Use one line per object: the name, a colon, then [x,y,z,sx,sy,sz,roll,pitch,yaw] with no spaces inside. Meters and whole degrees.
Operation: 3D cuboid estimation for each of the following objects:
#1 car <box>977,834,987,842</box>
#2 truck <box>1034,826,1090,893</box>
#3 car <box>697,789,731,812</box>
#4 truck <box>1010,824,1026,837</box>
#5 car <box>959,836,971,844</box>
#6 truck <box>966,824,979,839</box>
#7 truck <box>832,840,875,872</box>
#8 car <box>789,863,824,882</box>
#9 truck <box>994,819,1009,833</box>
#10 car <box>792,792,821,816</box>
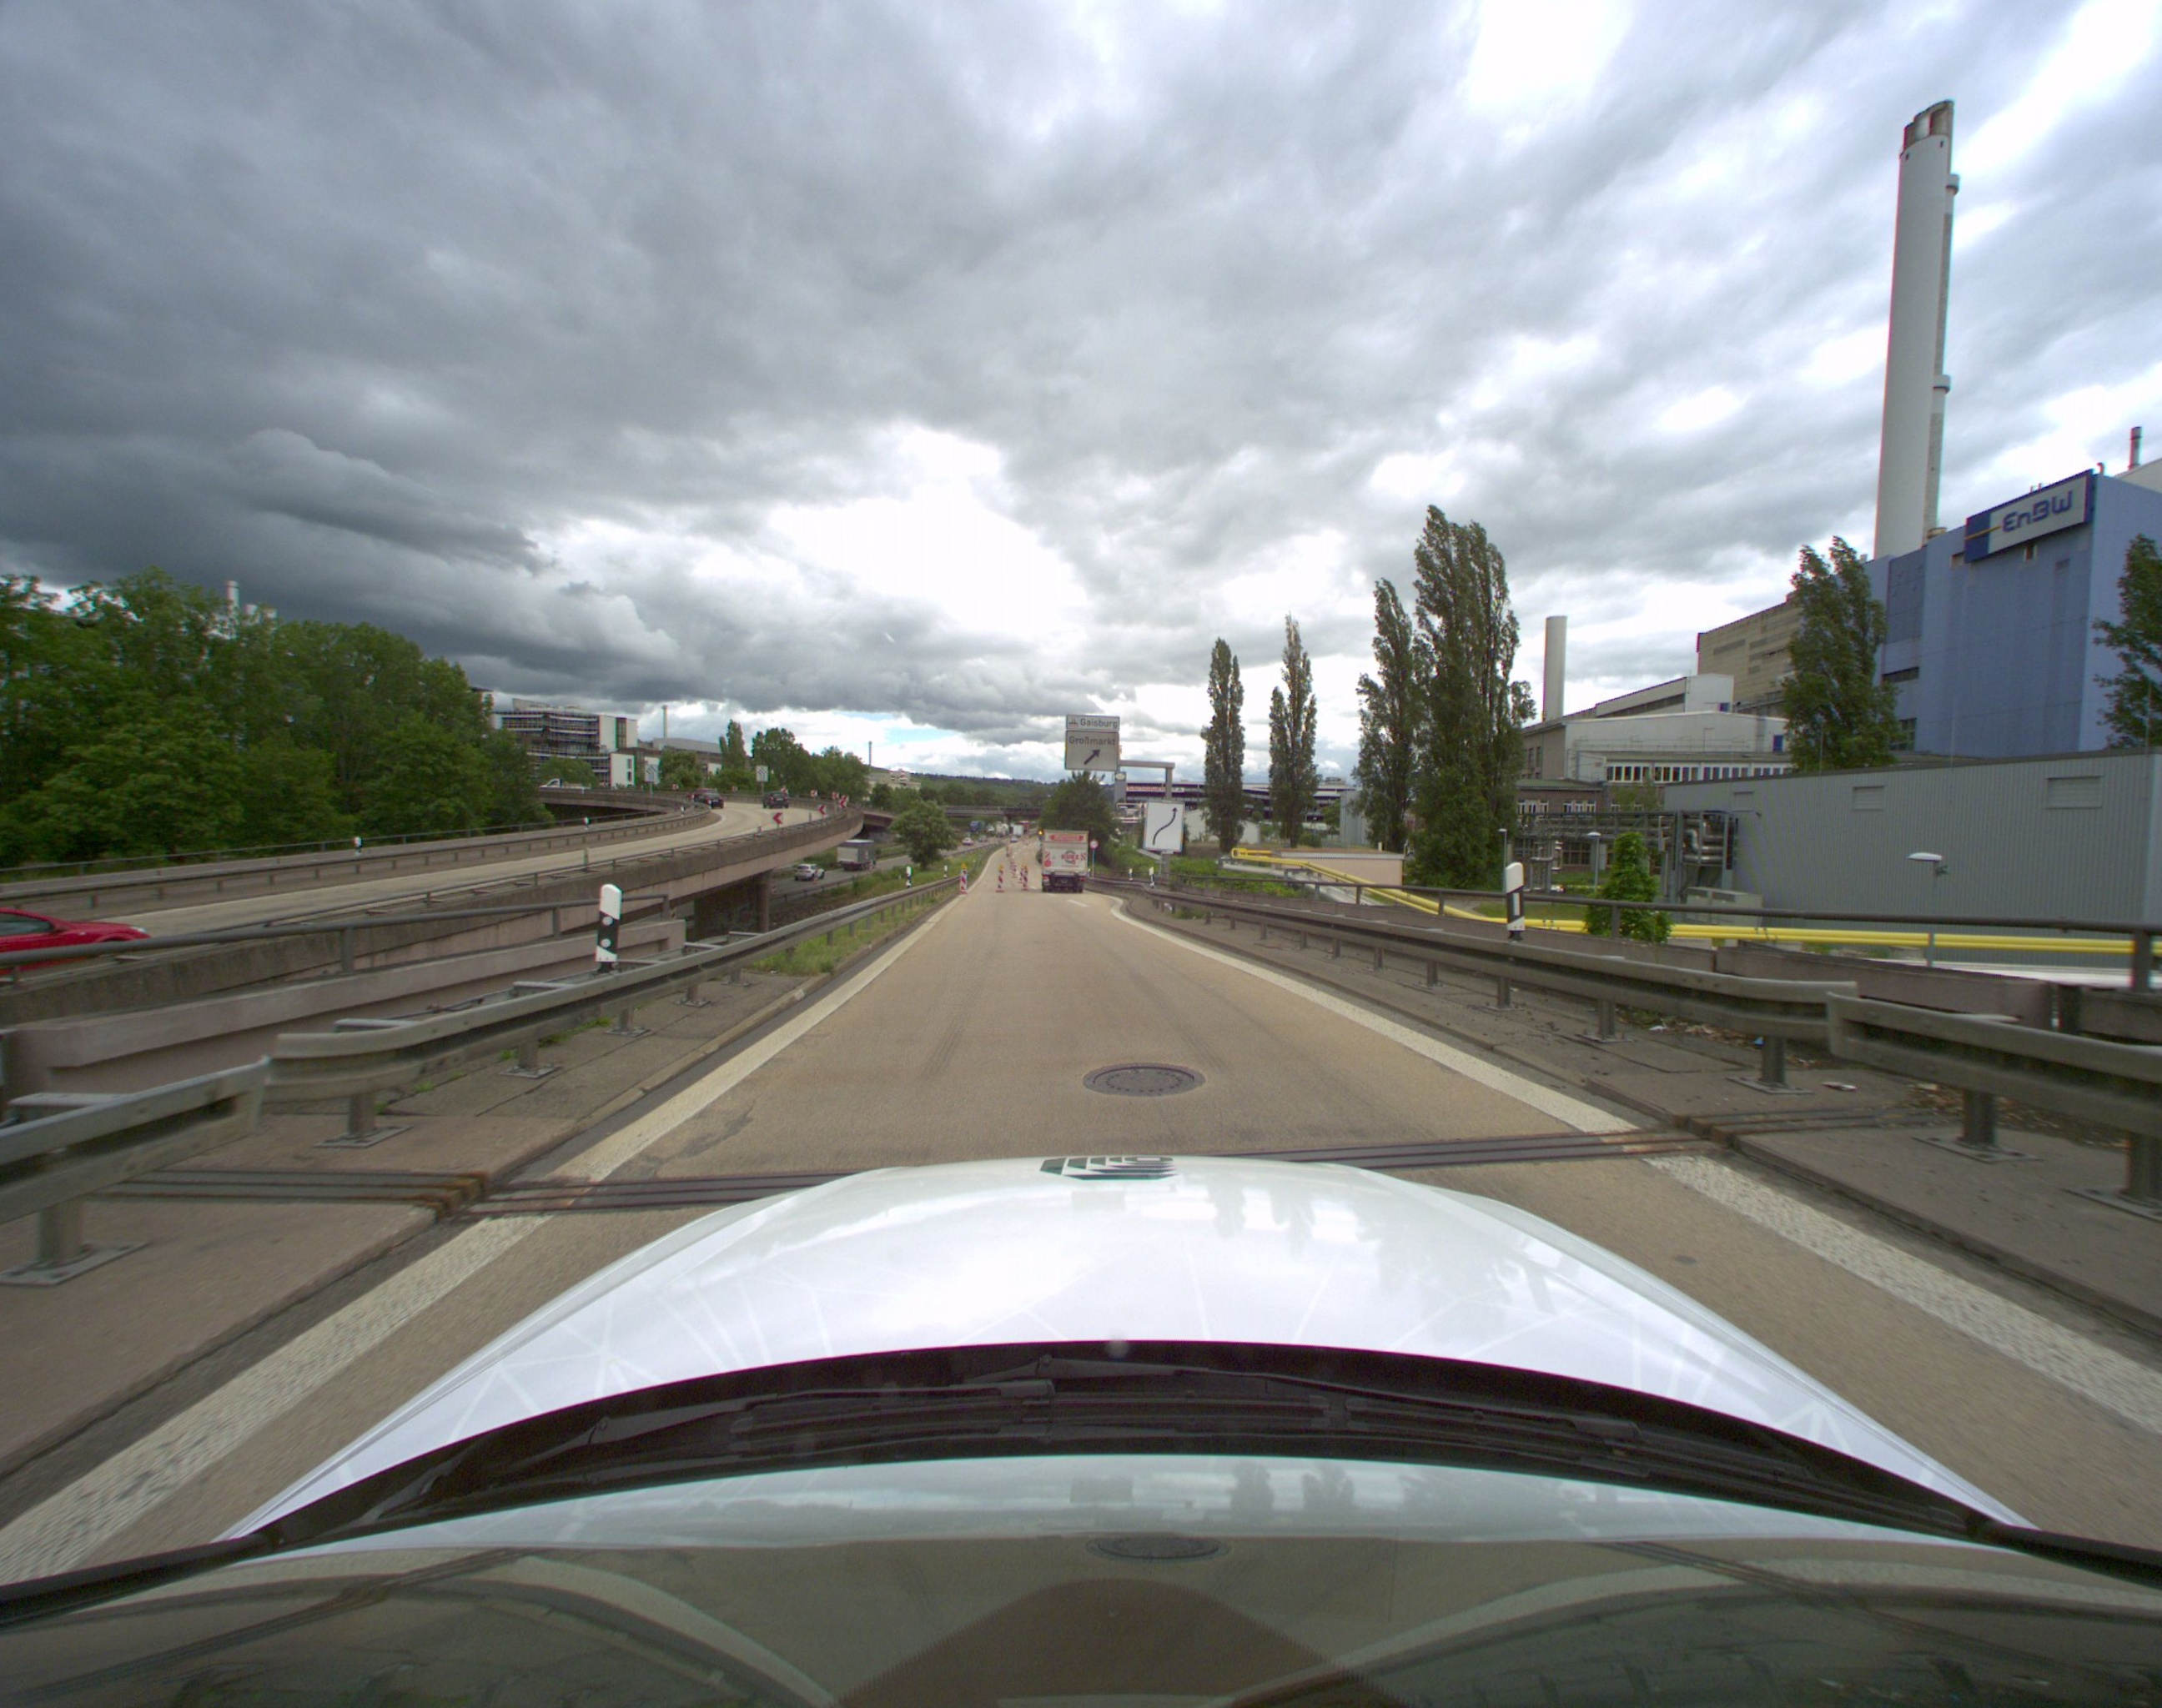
car: [-23.451,-3.766,193.321,1.988,1.617,3.999,2,2,-1]
truck: [-1.212,0.352,49.336,3.043,3.673,7.919,1,-1,-3]
car: [-33.501,-4.822,74.307,2.009,1.772,3.955,1,-1,-38]
truck: [-17.557,-6.549,228.066,3.272,3.599,7.674,2,2,4]
car: [-24.793,-3.057,173.829,1.988,1.617,3.999,2,2,-1]
truck: [-31.929,-6.666,239.836,2.741,4.271,5.508,2,2,3]
truck: [-27.865,0.175,100.080,3.041,3.655,7.396,2,2,0]
car: [-28.615,1.915,84.951,1.985,1.712,4.106,2,2,3]
truck: [-21.715,-7.667,222.439,3.277,3.851,7.663,1,2,-1]
car: [-23.335,-4.234,69.286,1.996,1.772,3.981,1,-1,-14]
